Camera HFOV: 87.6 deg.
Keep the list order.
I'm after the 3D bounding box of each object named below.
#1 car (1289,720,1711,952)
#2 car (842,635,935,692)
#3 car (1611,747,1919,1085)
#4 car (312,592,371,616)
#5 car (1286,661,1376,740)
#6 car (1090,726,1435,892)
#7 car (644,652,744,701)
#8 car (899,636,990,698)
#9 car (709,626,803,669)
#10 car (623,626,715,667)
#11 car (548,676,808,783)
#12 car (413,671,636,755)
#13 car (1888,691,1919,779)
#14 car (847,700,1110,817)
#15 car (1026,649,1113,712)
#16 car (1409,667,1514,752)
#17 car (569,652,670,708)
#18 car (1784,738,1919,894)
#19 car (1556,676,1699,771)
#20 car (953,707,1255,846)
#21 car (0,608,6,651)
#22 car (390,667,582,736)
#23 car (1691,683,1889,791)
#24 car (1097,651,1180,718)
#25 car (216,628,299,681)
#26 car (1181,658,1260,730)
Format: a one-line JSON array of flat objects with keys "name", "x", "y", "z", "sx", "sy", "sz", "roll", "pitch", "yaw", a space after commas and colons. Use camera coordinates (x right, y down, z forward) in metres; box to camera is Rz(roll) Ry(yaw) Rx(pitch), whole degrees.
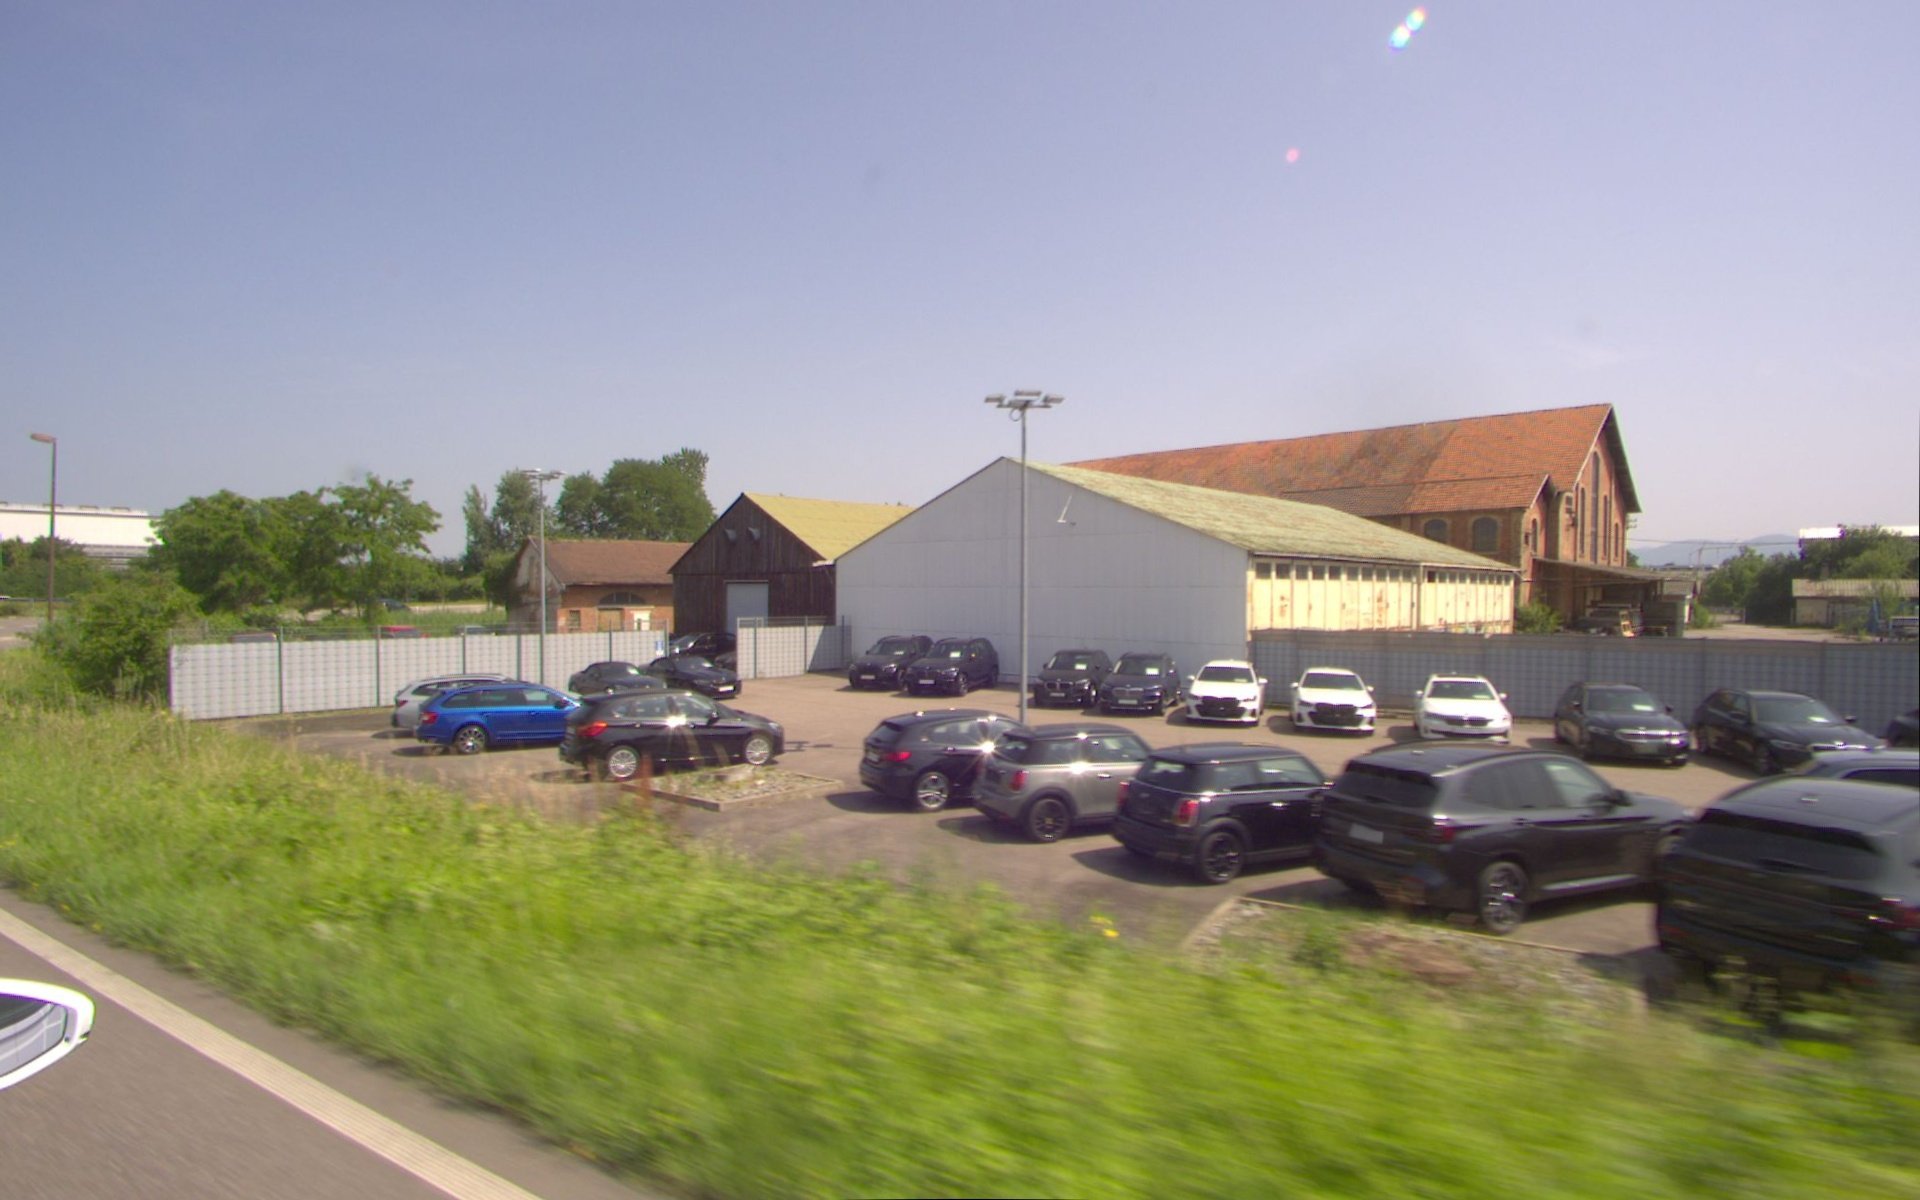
[{"name": "car", "x": 5.873, "y": 2.369, "z": 10.900, "sx": 4.169, "sy": 1.724, "sz": 1.911, "roll": 1, "pitch": 1, "yaw": -25}, {"name": "car", "x": -2.537, "y": 2.260, "z": 36.671, "sx": 1.963, "sy": 1.828, "sz": 4.331, "roll": 1, "pitch": 0, "yaw": 17}, {"name": "car", "x": 7.860, "y": 2.388, "z": 8.580, "sx": 4.575, "sy": 1.724, "sz": 1.847, "roll": 1, "pitch": 1, "yaw": -29}, {"name": "car", "x": -47.009, "y": 0.335, "z": 76.199, "sx": 1.752, "sy": 1.623, "sz": 3.794, "roll": 0, "pitch": -2, "yaw": 8}, {"name": "car", "x": 9.392, "y": 2.487, "z": 25.651, "sx": 1.877, "sy": 1.543, "sz": 4.606, "roll": 1, "pitch": 0, "yaw": 17}, {"name": "car", "x": 3.875, "y": 2.533, "z": 12.807, "sx": 4.085, "sy": 1.462, "sz": 1.768, "roll": 1, "pitch": 1, "yaw": -25}, {"name": "car", "x": -9.066, "y": 2.542, "z": 33.936, "sx": 1.975, "sy": 1.416, "sz": 3.972, "roll": 1, "pitch": -2, "yaw": -36}, {"name": "car", "x": -0.443, "y": 2.244, "z": 34.552, "sx": 1.877, "sy": 1.828, "sz": 4.331, "roll": 1, "pitch": 0, "yaw": 17}, {"name": "car", "x": -8.812, "y": 2.032, "z": 43.433, "sx": 3.715, "sy": 1.772, "sz": 1.657, "roll": 1, "pitch": -2, "yaw": -45}, {"name": "car", "x": -13.295, "y": 2.098, "z": 45.793, "sx": 3.711, "sy": 1.772, "sz": 1.659, "roll": 1, "pitch": -2, "yaw": -42}, {"name": "car", "x": -5.439, "y": 2.416, "z": 19.561, "sx": 4.582, "sy": 1.626, "sz": 1.845, "roll": 1, "pitch": -1, "yaw": -34}, {"name": "car", "x": -10.071, "y": 2.546, "z": 23.236, "sx": 4.578, "sy": 1.518, "sz": 1.846, "roll": 1, "pitch": 1, "yaw": -31}, {"name": "car", "x": 18.418, "y": 2.545, "z": 17.362, "sx": 1.900, "sy": 1.543, "sz": 4.607, "roll": -1, "pitch": -1, "yaw": 22}, {"name": "car", "x": 0.290, "y": 2.525, "z": 16.511, "sx": 3.968, "sy": 1.462, "sz": 1.768, "roll": 1, "pitch": 1, "yaw": -21}, {"name": "car", "x": 3.504, "y": 2.441, "z": 31.318, "sx": 1.877, "sy": 1.597, "sz": 4.331, "roll": 1, "pitch": 0, "yaw": 17}, {"name": "car", "x": 11.816, "y": 2.510, "z": 23.856, "sx": 1.879, "sy": 1.543, "sz": 4.649, "roll": -1, "pitch": -1, "yaw": 22}, {"name": "car", "x": -11.099, "y": 2.530, "z": 32.417, "sx": 1.833, "sy": 1.554, "sz": 4.611, "roll": 1, "pitch": -2, "yaw": -36}, {"name": "car", "x": 12.245, "y": 2.549, "z": 11.302, "sx": 4.482, "sy": 1.476, "sz": 2.125, "roll": -2, "pitch": -2, "yaw": 42}, {"name": "car", "x": 13.949, "y": 2.504, "z": 21.156, "sx": 1.729, "sy": 1.543, "sz": 4.000, "roll": -1, "pitch": -1, "yaw": 22}, {"name": "car", "x": 2.132, "y": 2.488, "z": 14.788, "sx": 4.085, "sy": 1.512, "sz": 1.824, "roll": 1, "pitch": 0, "yaw": -25}, {"name": "car", "x": -36.938, "y": 0.981, "z": 36.774, "sx": 1.763, "sy": 1.621, "sz": 3.875, "roll": 6, "pitch": -6, "yaw": -30}, {"name": "car", "x": -12.135, "y": 2.571, "z": 25.950, "sx": 4.298, "sy": 1.523, "sz": 1.838, "roll": 1, "pitch": 0, "yaw": -19}, {"name": "car", "x": 16.069, "y": 2.555, "z": 19.663, "sx": 1.766, "sy": 1.543, "sz": 4.316, "roll": -1, "pitch": -1, "yaw": 22}, {"name": "car", "x": 5.297, "y": 2.395, "z": 29.296, "sx": 1.877, "sy": 1.597, "sz": 4.331, "roll": 1, "pitch": 0, "yaw": 17}, {"name": "car", "x": -28.744, "y": 2.178, "z": 40.964, "sx": 3.956, "sy": 2.039, "sz": 1.983, "roll": -1, "pitch": -2, "yaw": 42}, {"name": "car", "x": 7.185, "y": 2.474, "z": 27.314, "sx": 1.877, "sy": 1.543, "sz": 4.331, "roll": 1, "pitch": 0, "yaw": 17}]
